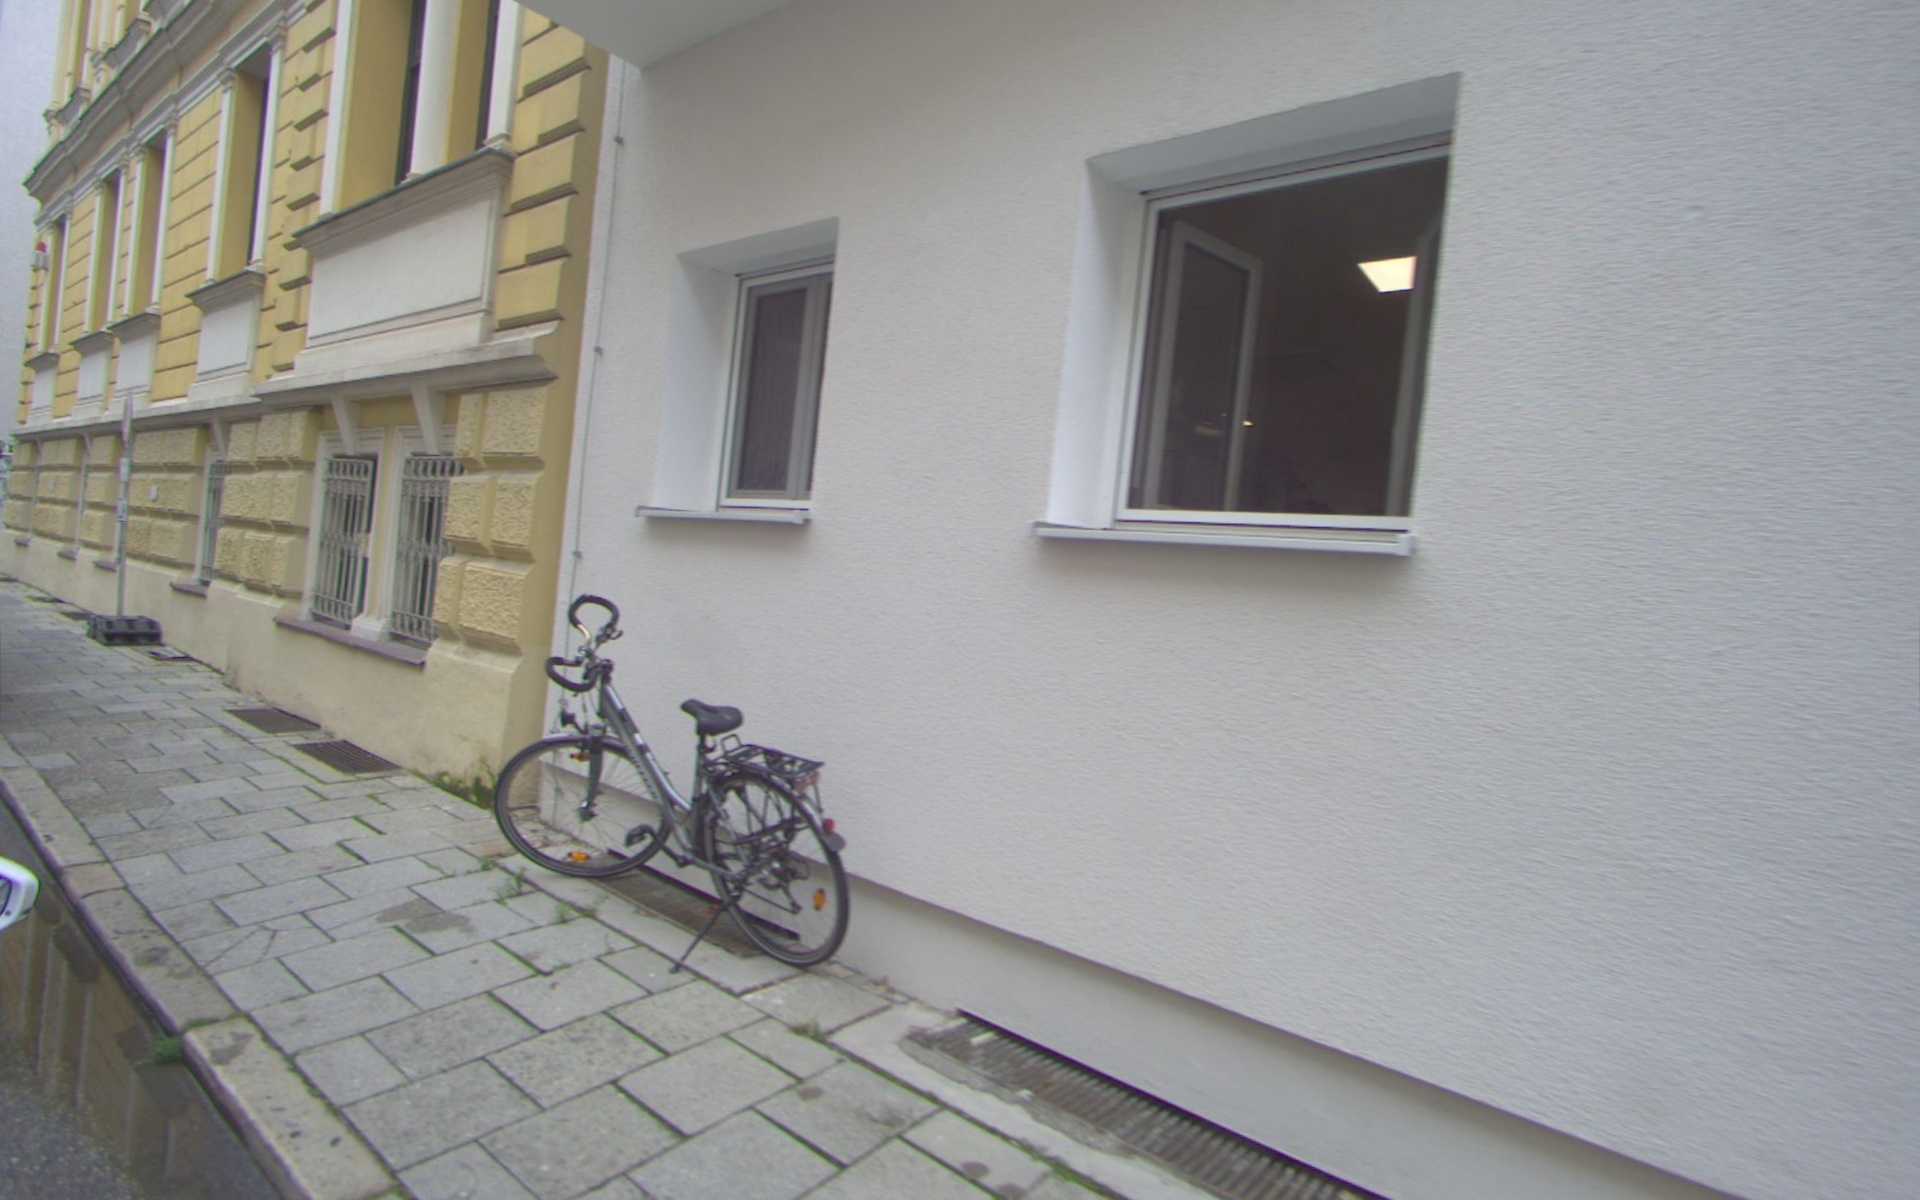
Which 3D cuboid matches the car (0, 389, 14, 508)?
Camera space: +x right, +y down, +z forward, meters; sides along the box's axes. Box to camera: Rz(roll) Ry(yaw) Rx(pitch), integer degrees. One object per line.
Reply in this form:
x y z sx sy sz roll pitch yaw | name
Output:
-7.561 -0.439 6.047 4.591 1.955 1.993 6 -1 39 | car

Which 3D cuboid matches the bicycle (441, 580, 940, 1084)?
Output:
-1.026 0.607 3.458 1.887 1.169 0.636 7 4 40 | bicycle
